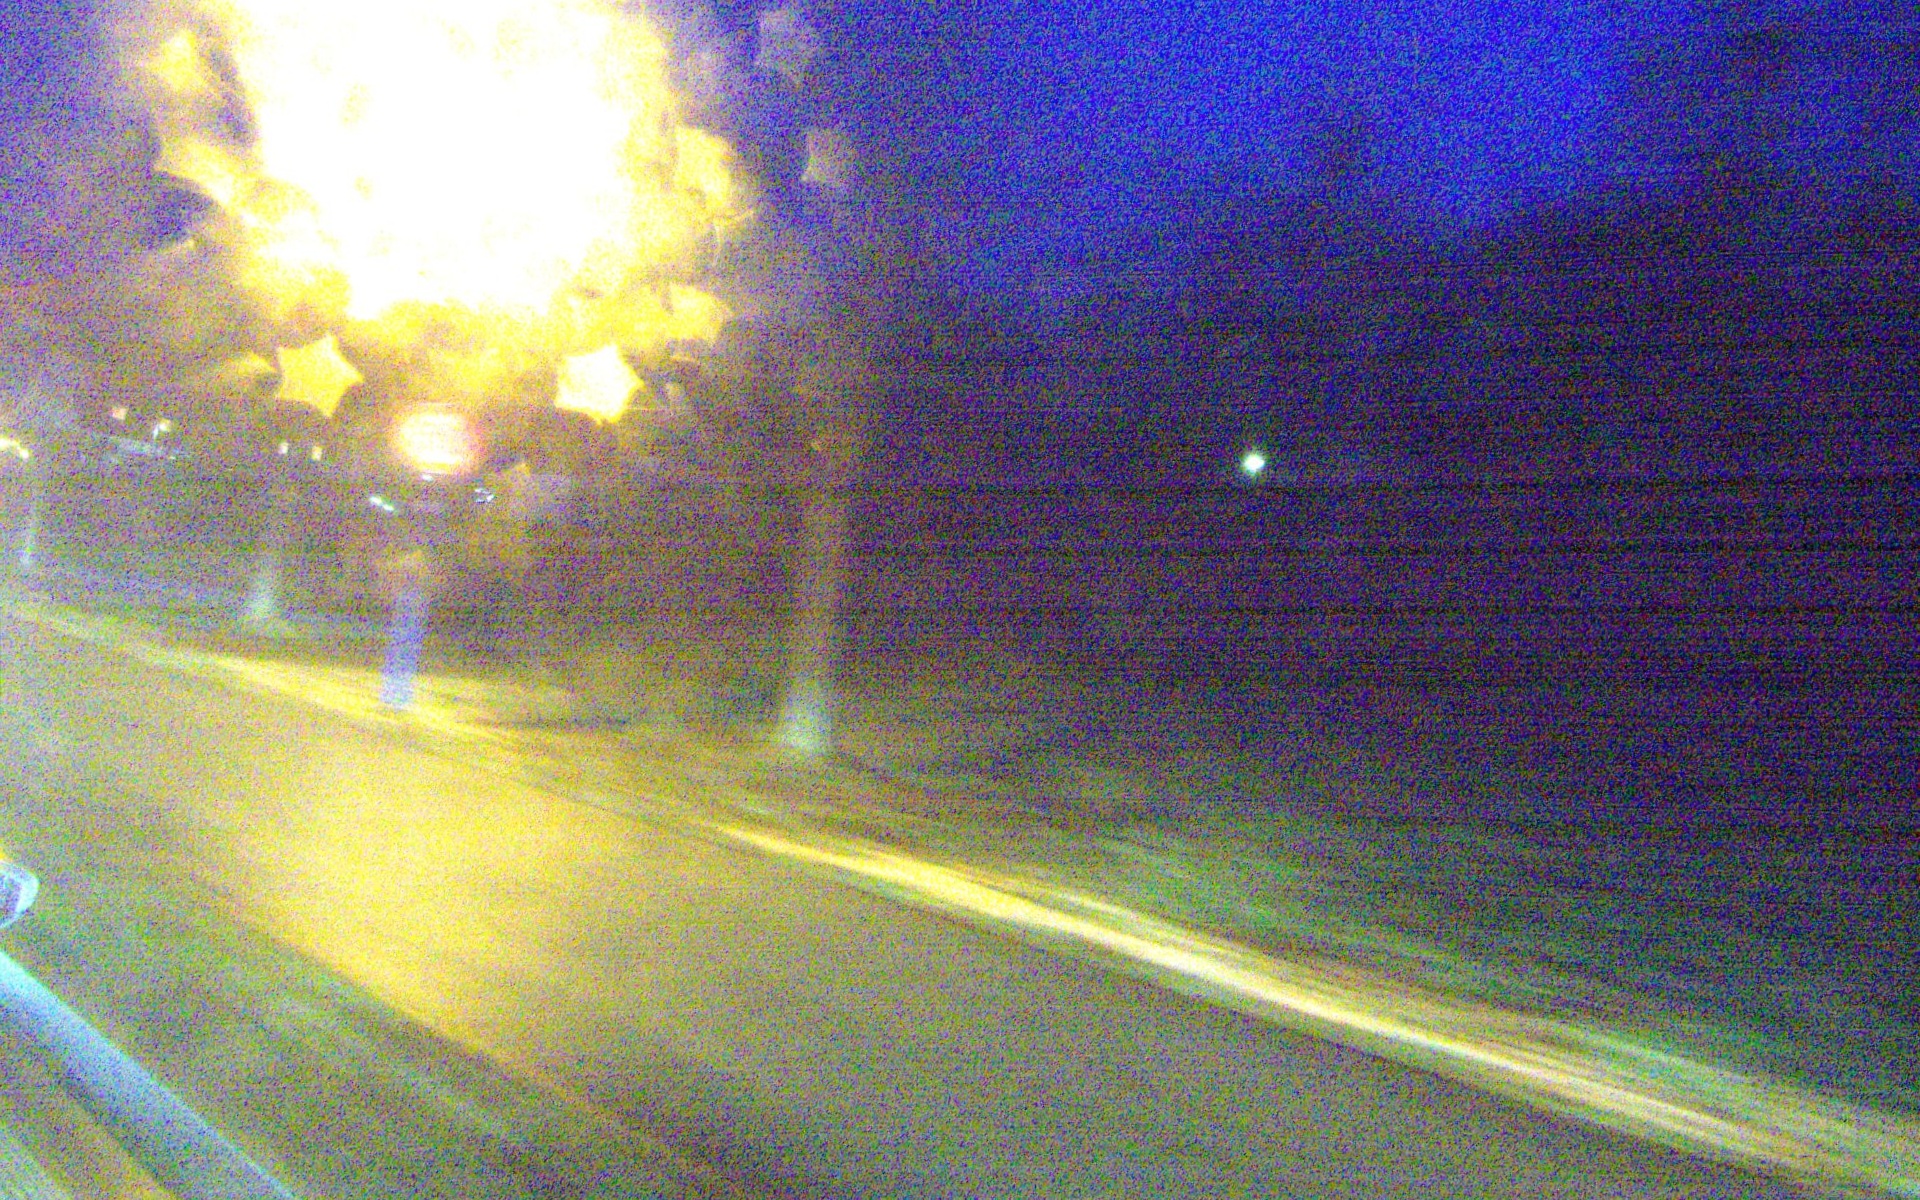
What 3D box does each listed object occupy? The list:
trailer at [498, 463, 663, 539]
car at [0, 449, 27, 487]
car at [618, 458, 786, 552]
[{"bbox_3d":[-14.411,-3.750,38.168,5.615,2.096,2.234,7,-1,21],"label":"trailer"},{"bbox_3d":[-48.993,-6.798,50.223,4.057,1.636,1.643,8,-1,18],"label":"car"},{"bbox_3d":[-9.284,-3.413,36.216,5.350,2.666,2.122,7,-1,21],"label":"car"}]
